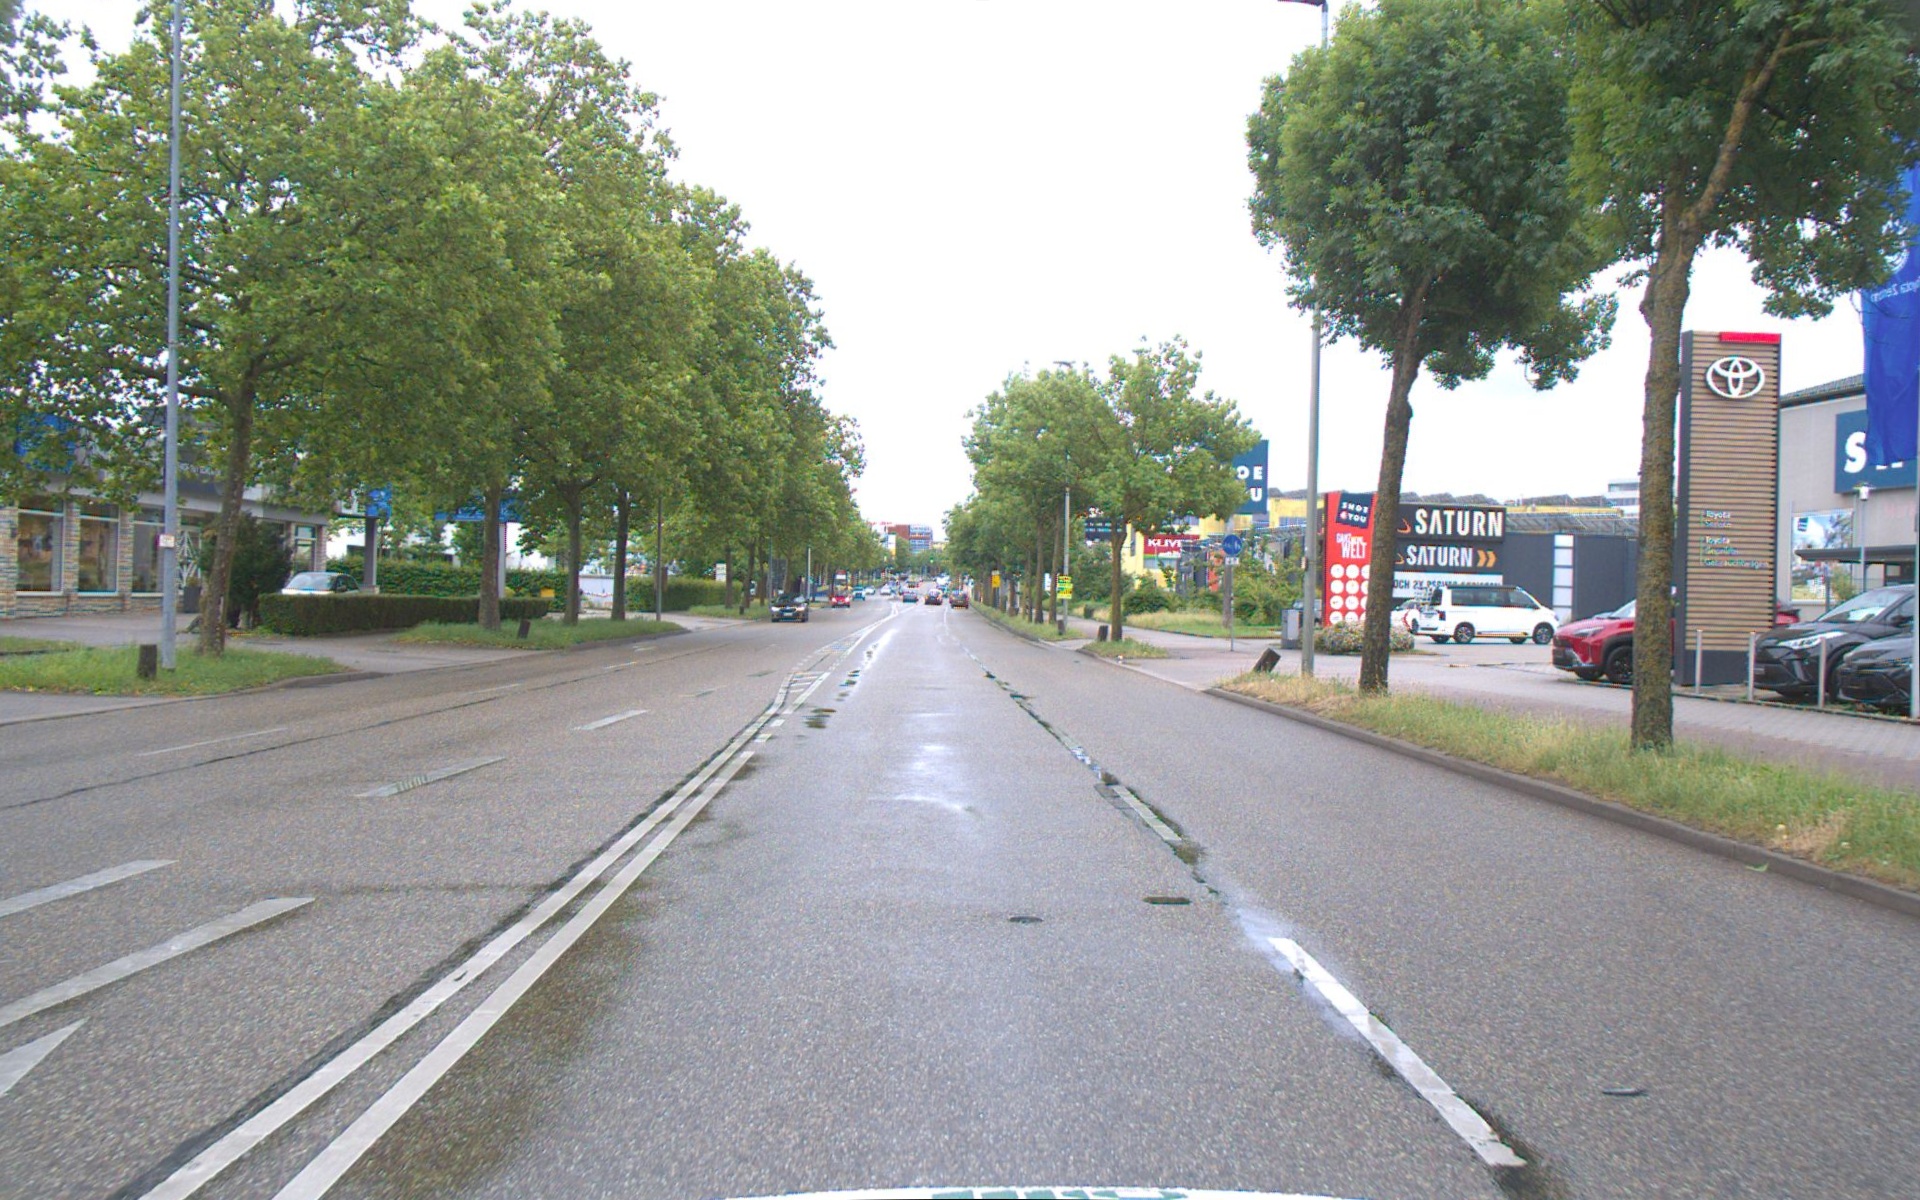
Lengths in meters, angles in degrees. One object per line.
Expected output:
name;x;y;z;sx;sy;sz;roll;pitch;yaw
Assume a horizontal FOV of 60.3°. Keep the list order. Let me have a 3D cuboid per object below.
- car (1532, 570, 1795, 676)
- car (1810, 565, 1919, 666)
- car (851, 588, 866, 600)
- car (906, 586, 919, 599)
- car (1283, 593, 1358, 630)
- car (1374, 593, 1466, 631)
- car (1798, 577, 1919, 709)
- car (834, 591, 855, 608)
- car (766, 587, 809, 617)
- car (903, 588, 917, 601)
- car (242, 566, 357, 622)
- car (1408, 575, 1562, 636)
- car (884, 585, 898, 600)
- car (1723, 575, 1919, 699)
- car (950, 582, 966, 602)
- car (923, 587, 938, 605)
car;12.124;0.381;28.659;3.763;1.631;1.795;-2;0;0
car;17.070;0.225;28.334;4.023;1.650;1.881;-1;0;4
car;-14.500;-0.847;236.413;1.669;1.767;4.001;0;0;1
car;-6.783;-1.053;236.494;1.852;1.909;4.123;0;0;-1
car;14.987;0.451;68.927;1.549;1.453;4.256;1;1;-10
car;19.734;0.478;71.162;1.846;1.494;4.941;1;1;-10
car;12.832;0.511;20.595;3.905;1.565;1.800;0;0;-1
car;-10.684;-0.026;153.558;1.691;1.544;3.820;0;0;-1
car;-8.752;0.087;84.145;1.767;1.488;3.845;0;0;0
car;-6.698;-0.762;221.941;1.709;1.730;4.000;0;0;0
car;-18.620;-0.177;46.795;1.786;1.512;3.938;0;0;-2
car;18.113;0.191;57.168;4.734;2.049;1.985;0;0;-10
car;-9.788;-1.067;234.906;1.953;2.049;3.999;0;0;-2
car;13.068;0.493;23.198;3.905;1.676;1.845;0;0;-1
car;-0.209;-0.831;175.235;1.709;2.049;4.000;0;0;0
car;-3.542;-0.501;199.242;1.709;2.049;4.000;-1;0;1
